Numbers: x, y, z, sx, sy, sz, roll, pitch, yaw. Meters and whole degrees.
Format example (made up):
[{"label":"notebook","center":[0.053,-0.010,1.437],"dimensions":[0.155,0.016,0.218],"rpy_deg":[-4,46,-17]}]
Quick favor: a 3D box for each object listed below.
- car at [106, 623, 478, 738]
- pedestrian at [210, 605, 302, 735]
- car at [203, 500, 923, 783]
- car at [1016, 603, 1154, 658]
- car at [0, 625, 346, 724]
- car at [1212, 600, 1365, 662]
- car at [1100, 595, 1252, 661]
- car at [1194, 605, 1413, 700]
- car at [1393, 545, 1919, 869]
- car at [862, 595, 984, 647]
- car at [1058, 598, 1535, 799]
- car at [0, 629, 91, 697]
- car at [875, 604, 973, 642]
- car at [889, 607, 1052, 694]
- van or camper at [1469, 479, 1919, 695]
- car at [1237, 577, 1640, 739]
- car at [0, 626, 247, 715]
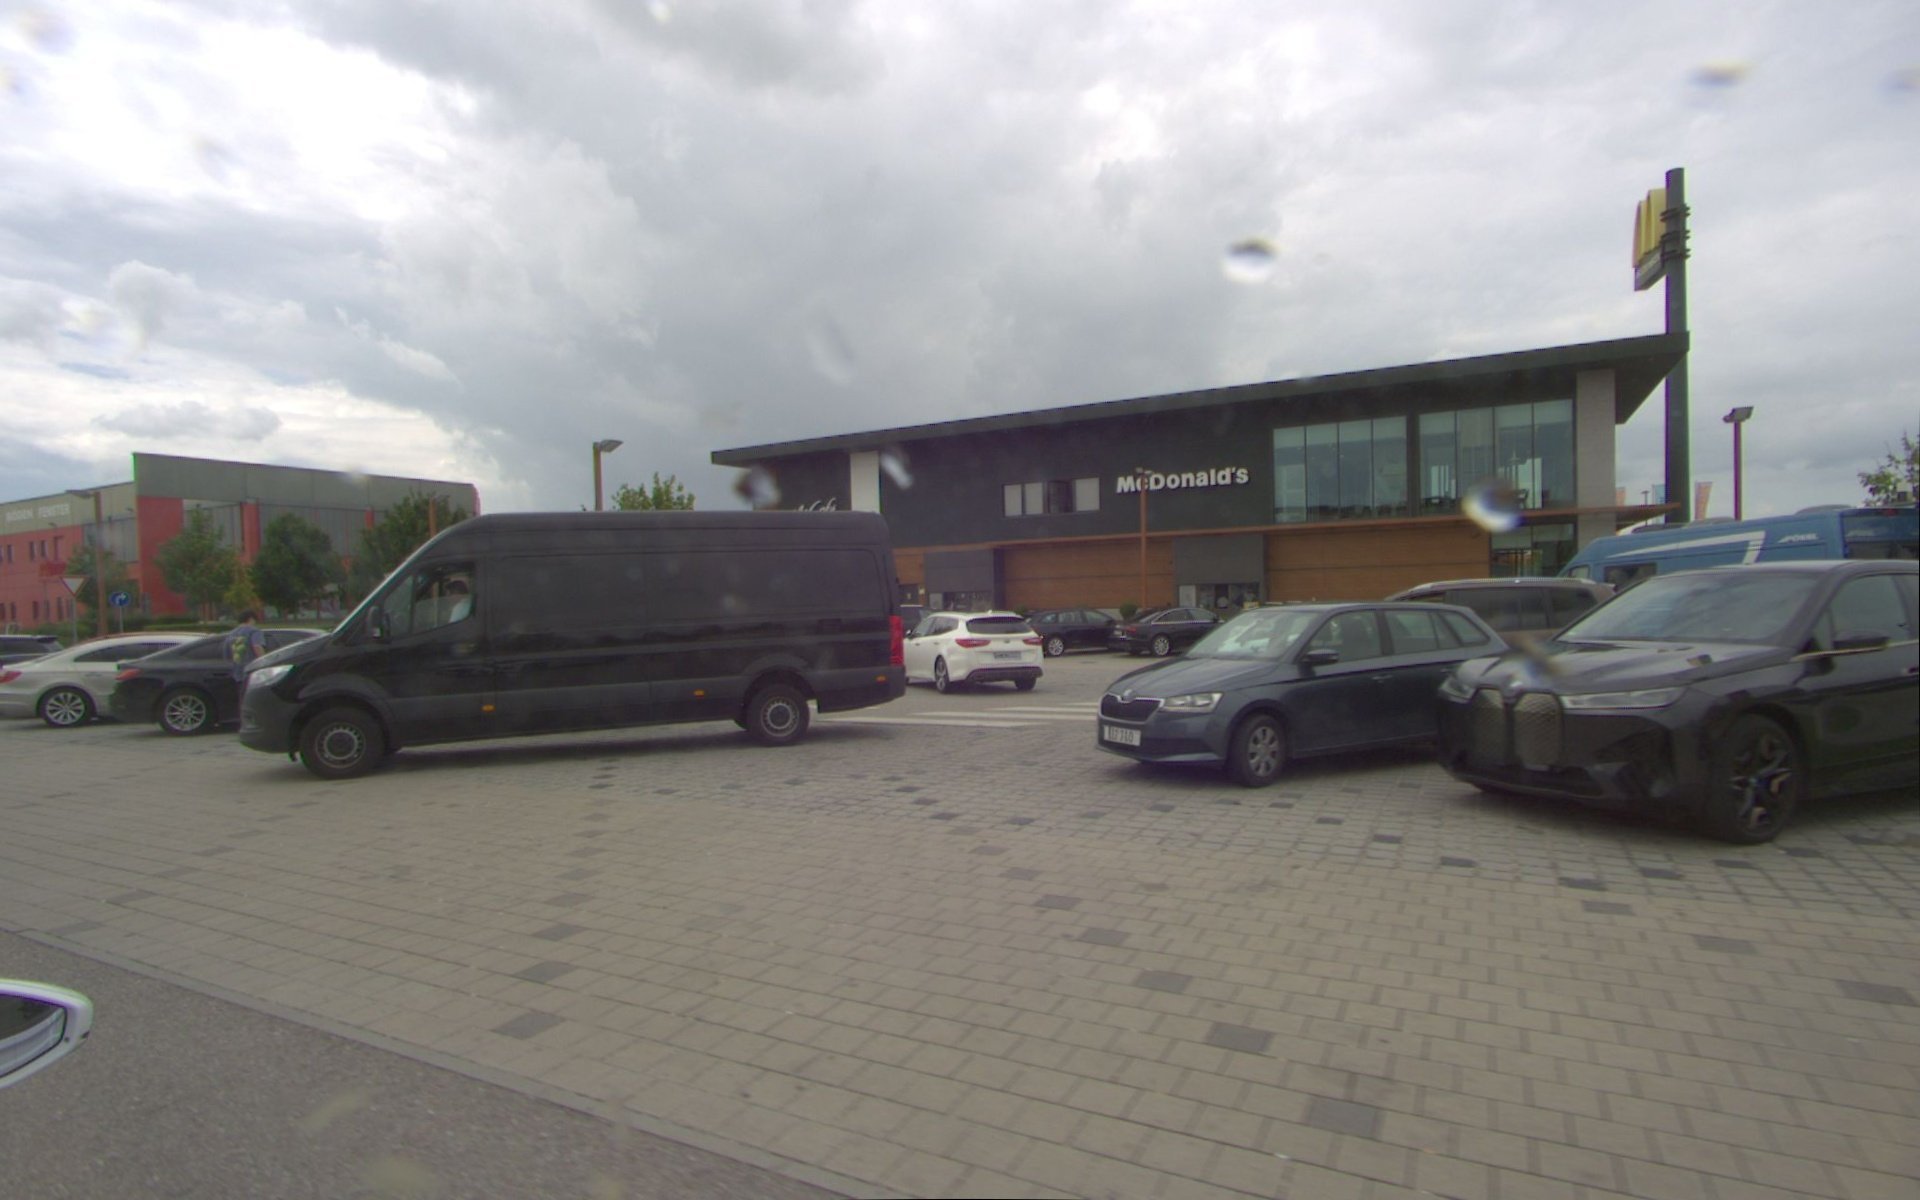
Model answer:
[{"label":"car","center":[-9.741,1.121,15.037],"dimensions":[4.331,1.482,1.683],"rpy_deg":[-1,0,-20]},{"label":"pedestrian","center":[-9.634,0.938,13.740],"dimensions":[0.828,1.699,0.748],"rpy_deg":[-1,-1,-20]},{"label":"car","center":[-4.027,0.348,11.360],"dimensions":[6.895,2.587,2.067],"rpy_deg":[-1,0,-21]},{"label":"car","center":[4.024,0.946,32.337],"dimensions":[4.020,1.595,1.834],"rpy_deg":[-2,1,-17]},{"label":"car","center":[-13.089,1.183,16.891],"dimensions":[4.384,1.430,1.749],"rpy_deg":[0,-1,-21]},{"label":"car","center":[9.540,0.860,29.143],"dimensions":[3.929,1.507,1.786],"rpy_deg":[-3,2,-18]},{"label":"car","center":[6.600,0.793,30.654],"dimensions":[4.187,1.685,1.892],"rpy_deg":[-3,2,-22]},{"label":"car","center":[5.882,0.848,17.567],"dimensions":[1.811,1.472,3.565],"rpy_deg":[-1,-1,-20]},{"label":"car","center":[5.743,0.555,7.174],"dimensions":[4.813,1.751,1.995],"rpy_deg":[-1,1,-20]},{"label":"car","center":[-1.337,0.712,35.823],"dimensions":[3.935,1.773,1.993],"rpy_deg":[0,1,-23]},{"label":"car","center":[3.059,0.754,9.098],"dimensions":[3.936,1.430,1.826],"rpy_deg":[-1,-1,-25]},{"label":"car","center":[-21.623,1.380,21.697],"dimensions":[3.866,1.430,1.682],"rpy_deg":[0,-1,-23]},{"label":"car","center":[-1.582,0.985,43.605],"dimensions":[3.937,1.526,1.781],"rpy_deg":[0,2,28]},{"label":"car","center":[0.071,0.910,19.403],"dimensions":[1.750,1.486,4.100],"rpy_deg":[1,-1,-21]},{"label":"van or camper","center":[11.501,-0.084,16.105],"dimensions":[2.133,2.735,6.567],"rpy_deg":[-1,-1,-14]},{"label":"car","center":[5.637,0.588,12.236],"dimensions":[4.121,1.713,1.805],"rpy_deg":[0,2,24]},{"label":"car","center":[-15.866,1.255,18.600],"dimensions":[3.933,1.483,1.683],"rpy_deg":[0,-1,-21]}]
